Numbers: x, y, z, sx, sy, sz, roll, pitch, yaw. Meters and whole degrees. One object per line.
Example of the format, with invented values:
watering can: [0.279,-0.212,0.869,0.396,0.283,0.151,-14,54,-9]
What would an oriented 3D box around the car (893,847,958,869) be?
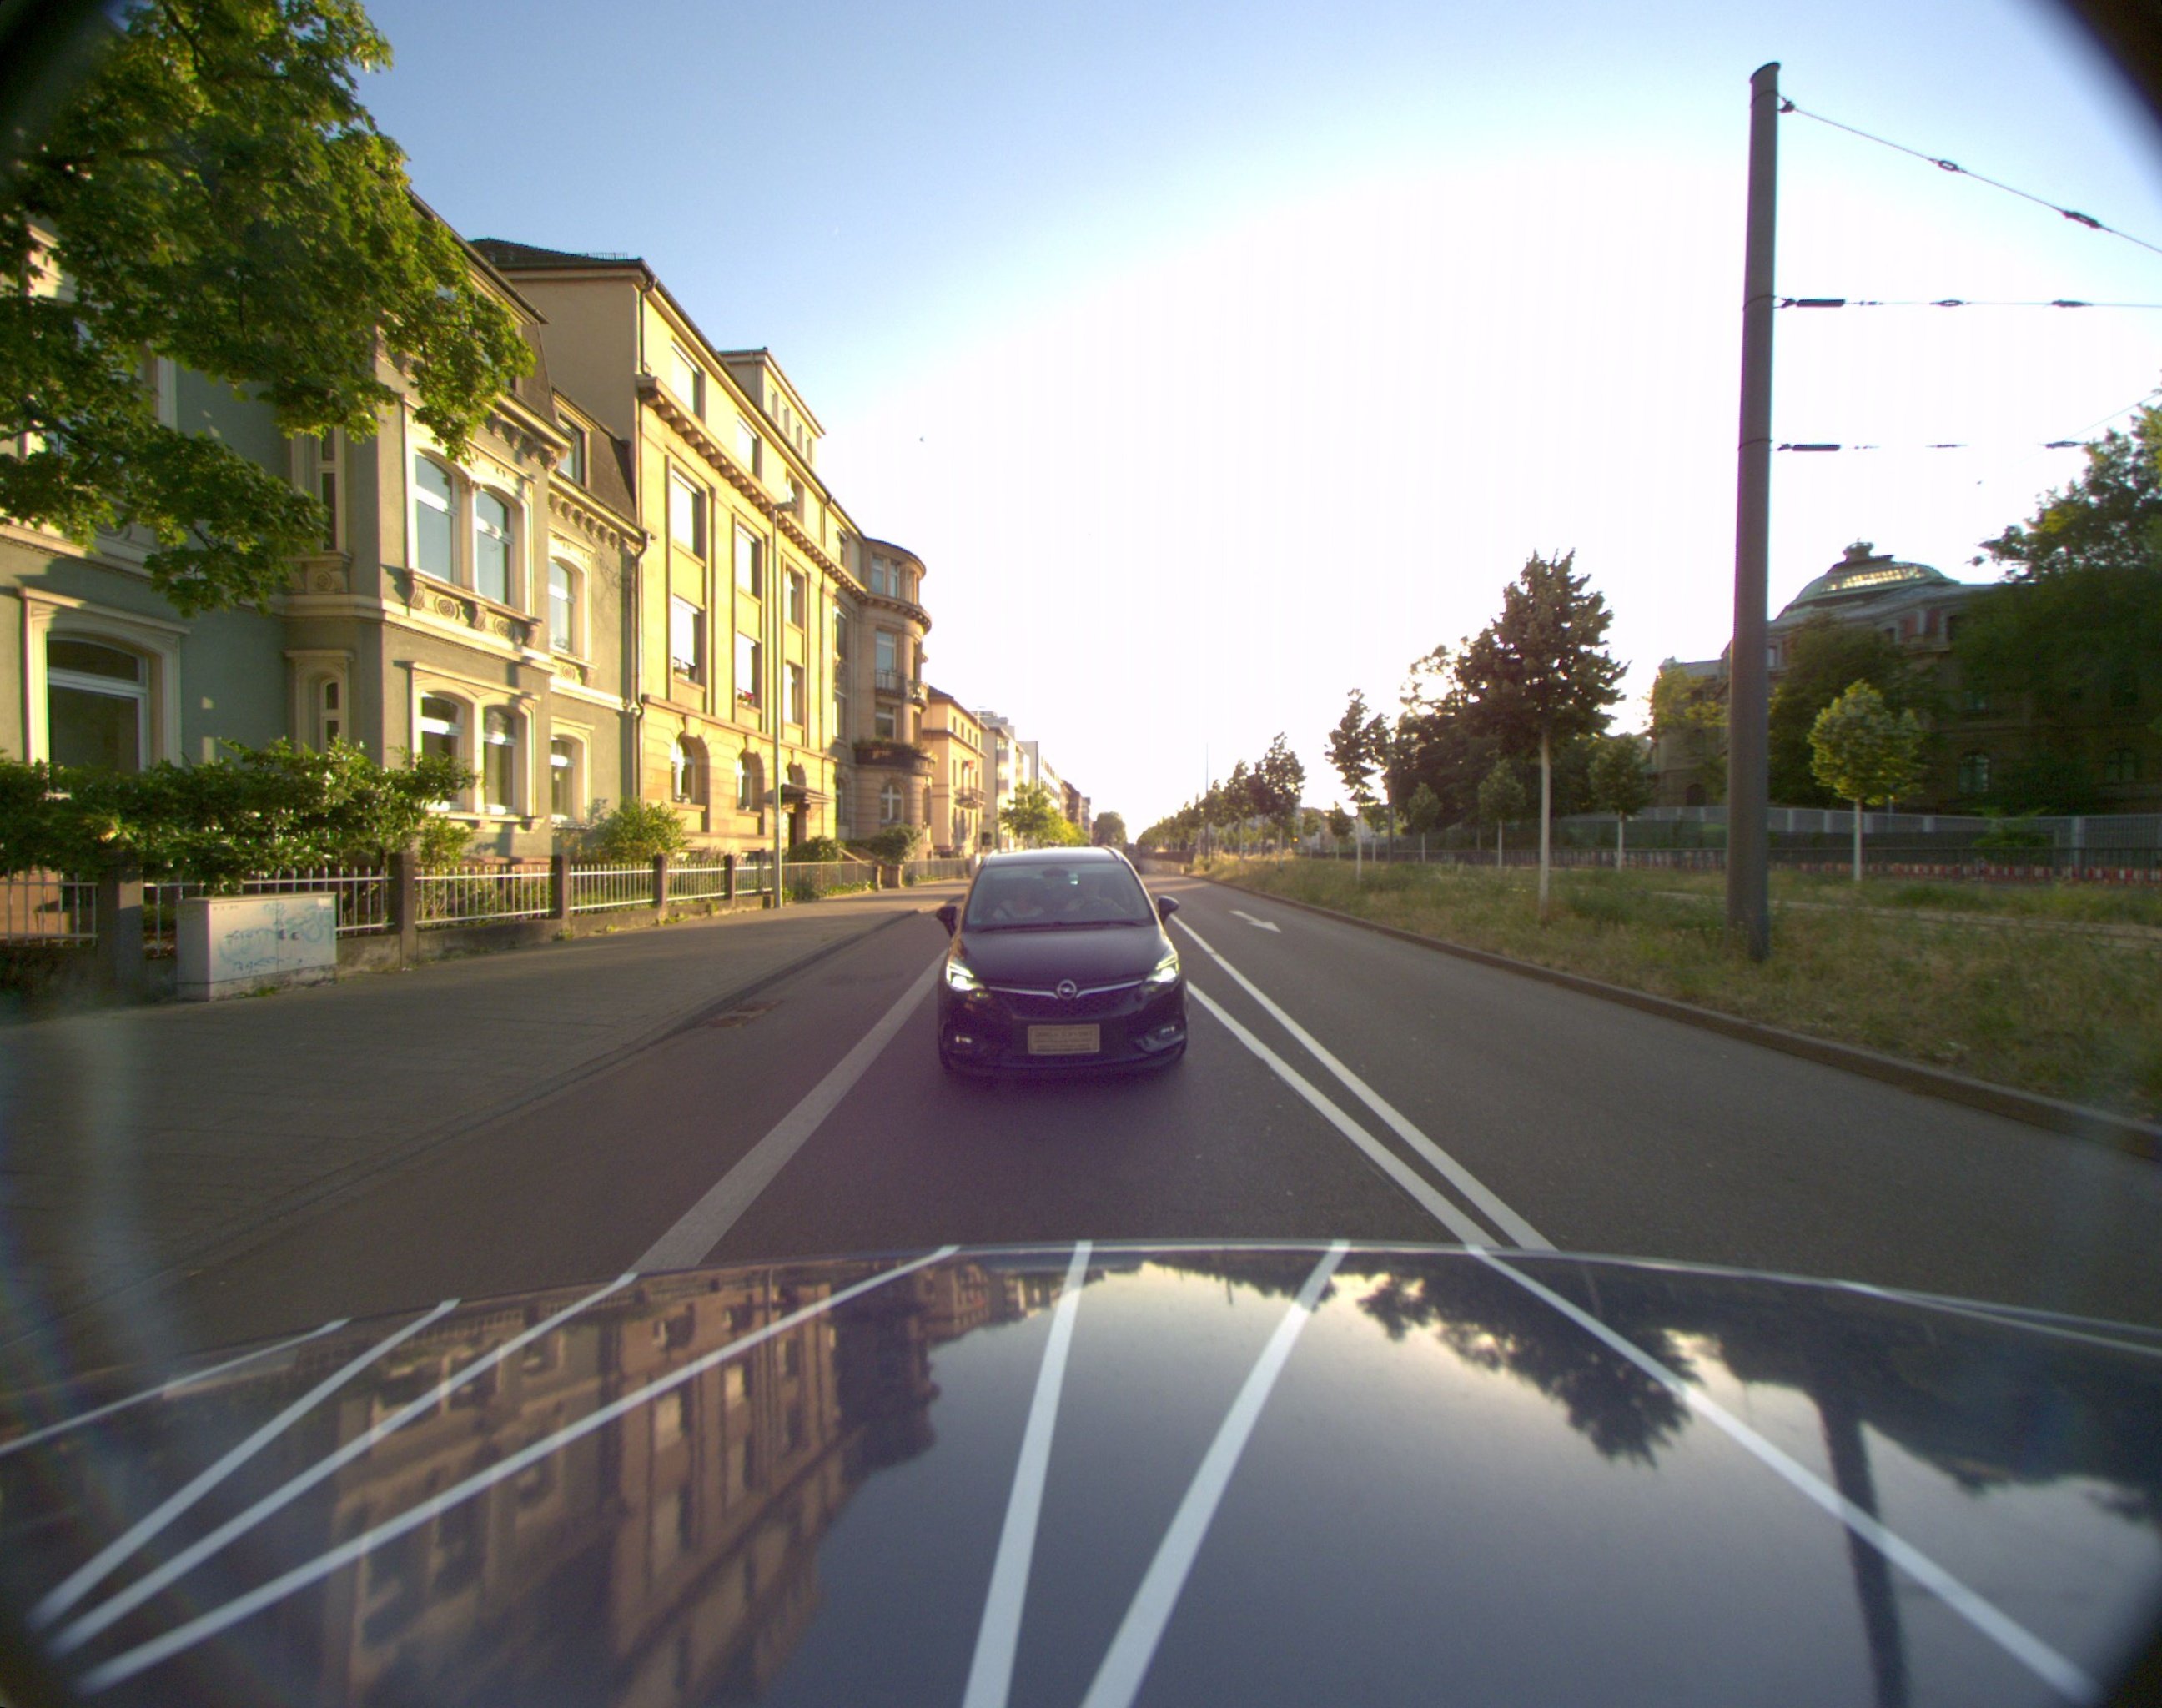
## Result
car: [-11.001,0.279,53.944,4.096,1.472,1.938,-1,1,3]

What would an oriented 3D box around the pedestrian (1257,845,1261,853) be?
pedestrian: [39.480,-1.129,168.448,0.646,1.702,0.838,0,1,10]

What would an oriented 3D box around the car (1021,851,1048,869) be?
car: [-3.843,0.472,62.837,1.882,1.394,4.100,-1,0,1]

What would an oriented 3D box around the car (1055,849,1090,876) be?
car: [-0.437,0.509,43.551,1.859,1.425,4.843,-2,-1,0]

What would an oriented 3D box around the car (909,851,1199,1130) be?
car: [-0.294,0.828,7.118,1.771,1.649,4.850,-1,1,-3]

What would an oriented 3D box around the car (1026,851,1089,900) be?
car: [-0.714,0.673,25.381,1.859,1.425,4.843,-2,-1,0]

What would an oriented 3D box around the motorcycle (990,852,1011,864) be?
motorcycle: [-7.453,0.408,70.272,1.848,1.090,0.576,-1,1,8]

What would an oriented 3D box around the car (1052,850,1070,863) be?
car: [-2.383,0.290,91.986,1.937,1.472,4.100,-1,0,1]
